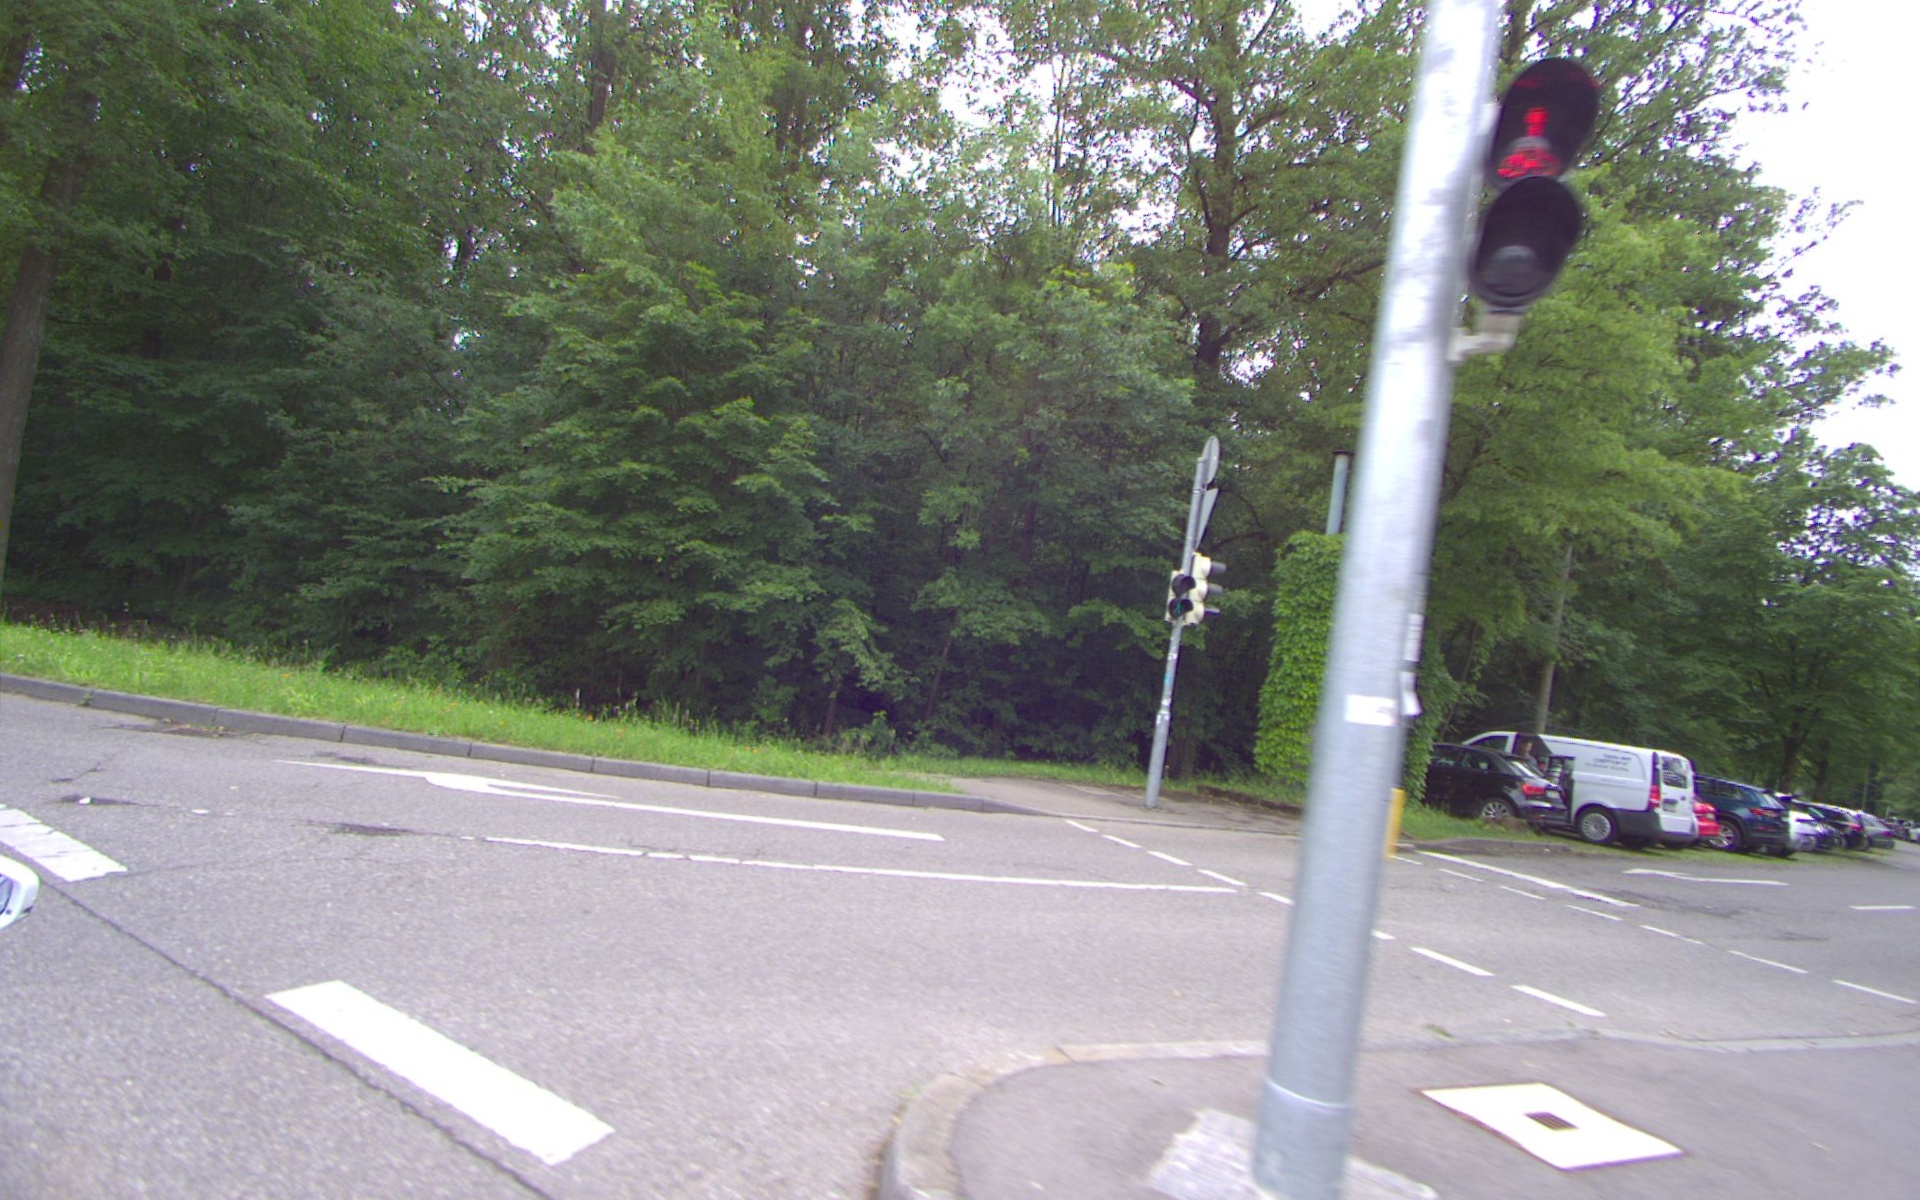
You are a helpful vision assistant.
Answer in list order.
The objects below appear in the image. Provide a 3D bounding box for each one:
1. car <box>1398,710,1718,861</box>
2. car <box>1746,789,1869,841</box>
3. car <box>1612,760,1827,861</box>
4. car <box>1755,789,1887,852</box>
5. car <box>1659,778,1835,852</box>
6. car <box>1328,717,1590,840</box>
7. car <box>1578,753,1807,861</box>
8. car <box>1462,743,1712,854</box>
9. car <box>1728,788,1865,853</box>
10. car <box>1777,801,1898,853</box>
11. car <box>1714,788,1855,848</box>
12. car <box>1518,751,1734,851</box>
[{"bbox_3d":[11.594,3.550,19.877,1.985,1.898,4.903,11,-4,-36],"label":"car"},{"bbox_3d":[32.972,8.365,39.206,1.551,1.232,3.395,12,-4,-40],"label":"car"},{"bbox_3d":[19.169,5.280,25.511,1.838,1.635,3.946,12,-4,-40],"label":"car"},{"bbox_3d":[38.035,9.719,44.494,1.829,1.805,4.153,12,-4,-44],"label":"car"},{"bbox_3d":[24.392,6.657,31.281,1.730,1.375,3.946,12,-4,-40],"label":"car"},{"bbox_3d":[9.062,3.224,18.481,1.812,1.435,3.803,12,-4,-42],"label":"car"},{"bbox_3d":[17.304,4.862,23.902,1.838,1.639,3.946,12,-4,-40],"label":"car"},{"bbox_3d":[13.204,4.155,21.395,1.815,1.429,4.012,11,-4,-36],"label":"car"},{"bbox_3d":[29.500,7.776,35.532,1.551,1.487,3.395,12,-4,-40],"label":"car"},{"bbox_3d":[35.057,9.061,40.235,1.551,1.232,3.395,12,-4,-40],"label":"car"},{"bbox_3d":[27.879,7.364,34.070,1.551,1.232,3.395,12,-4,-40],"label":"car"},{"bbox_3d":[14.930,4.487,22.694,1.770,1.429,3.573,11,-4,-36],"label":"car"}]
